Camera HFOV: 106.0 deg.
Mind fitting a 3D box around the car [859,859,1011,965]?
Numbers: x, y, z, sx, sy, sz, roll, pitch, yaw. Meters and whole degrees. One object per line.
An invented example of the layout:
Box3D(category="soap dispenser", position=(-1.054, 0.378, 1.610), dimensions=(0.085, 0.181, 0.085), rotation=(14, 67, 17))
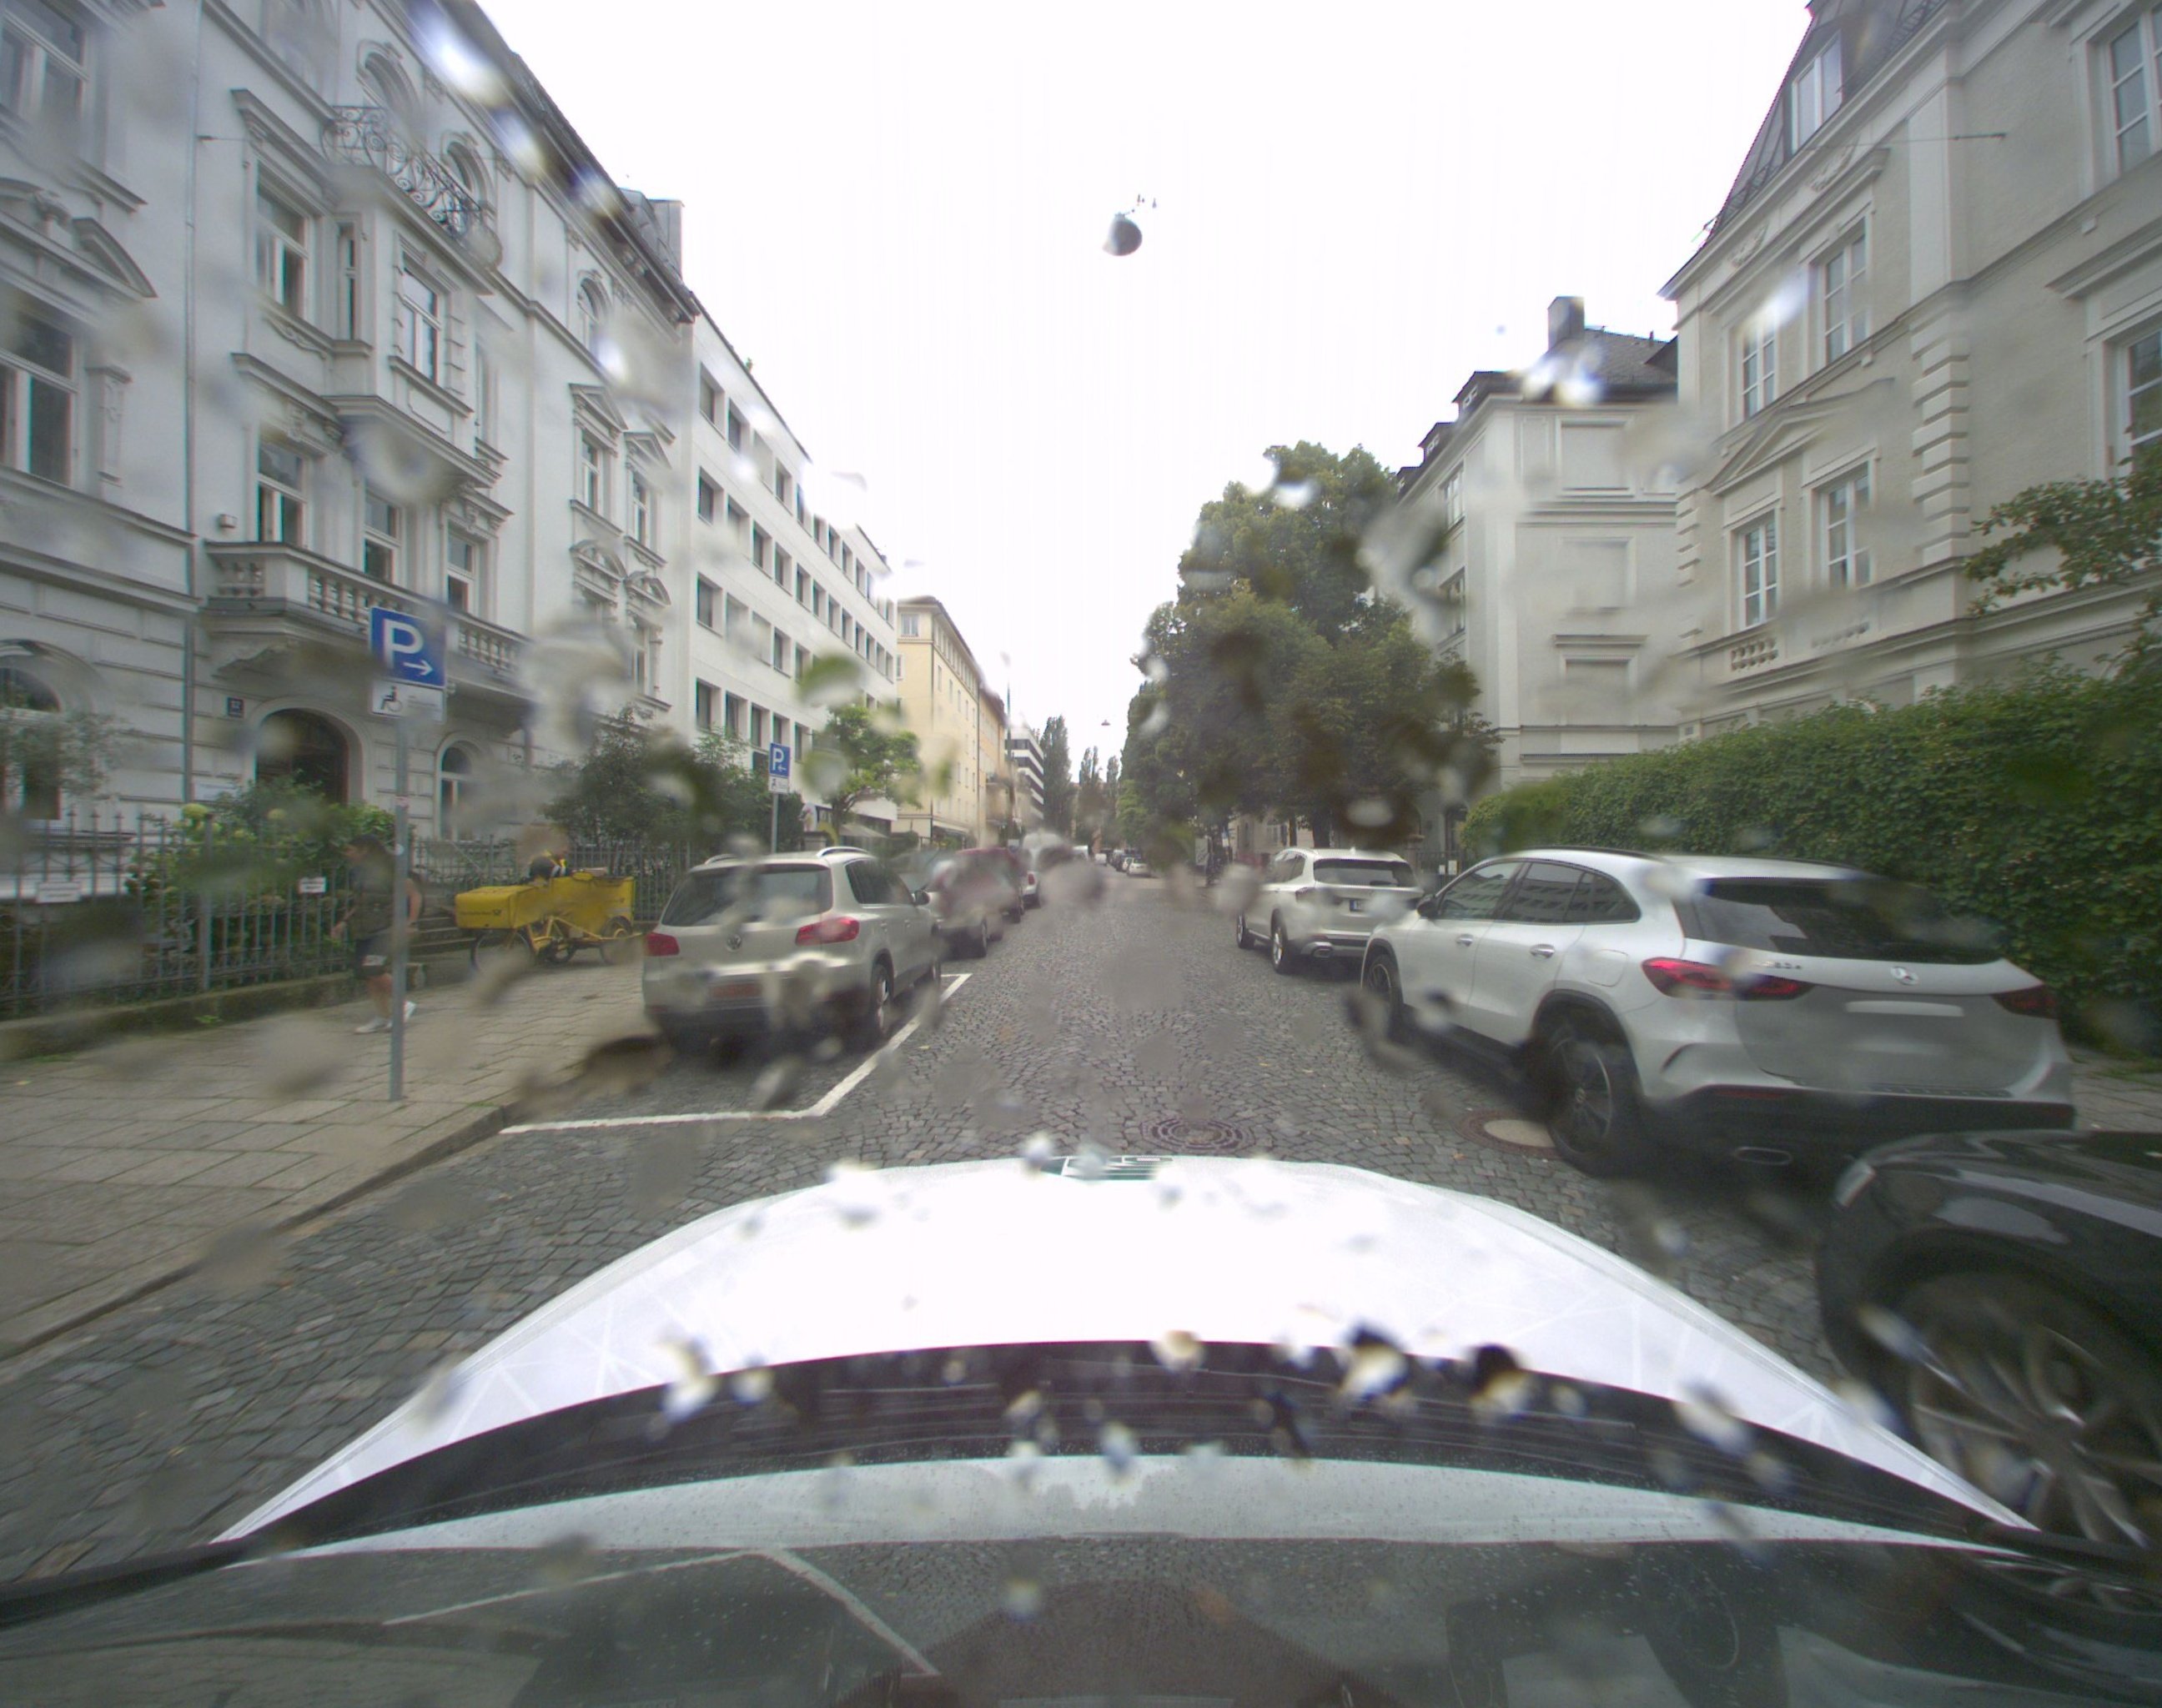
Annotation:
Box3D(category="car", position=(-2.321, 0.864, 14.034), dimensions=(1.868, 1.451, 4.206), rotation=(-2, 0, -1))

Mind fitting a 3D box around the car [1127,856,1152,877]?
Box3D(category="car", position=(4.396, 0.909, 61.646), dimensions=(1.783, 1.520, 4.002), rotation=(0, 0, 2))

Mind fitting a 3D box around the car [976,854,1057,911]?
Box3D(category="car", position=(-1.923, 0.833, 25.645), dimensions=(1.864, 1.580, 4.213), rotation=(2, 0, 4))

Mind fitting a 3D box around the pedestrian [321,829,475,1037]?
Box3D(category="pedestrian", position=(-5.805, 0.641, 6.965), dimensions=(0.691, 1.687, 0.720), rotation=(0, 0, 0))

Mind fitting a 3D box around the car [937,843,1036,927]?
Box3D(category="car", position=(-2.242, 0.713, 20.430), dimensions=(1.867, 1.776, 4.122), rotation=(-4, 0, 0))

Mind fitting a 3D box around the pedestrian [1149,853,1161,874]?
Box3D(category="pedestrian", position=(7.144, 0.937, 78.583), dimensions=(0.858, 2.014, 0.985), rotation=(0, 0, -16))

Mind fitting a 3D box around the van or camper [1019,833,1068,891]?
Box3D(category="van or camper", position=(-1.795, 0.395, 40.636), dimensions=(1.986, 2.652, 4.002), rotation=(-3, 0, 2))

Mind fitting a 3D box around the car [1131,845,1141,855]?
Box3D(category="car", position=(11.126, -0.775, 164.477), dimensions=(1.986, 2.014, 4.001), rotation=(0, -1, 2))

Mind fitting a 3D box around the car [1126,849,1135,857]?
Box3D(category="car", position=(11.437, -0.206, 188.997), dimensions=(1.986, 2.014, 4.001), rotation=(0, -1, 2))

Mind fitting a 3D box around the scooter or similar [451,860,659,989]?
Box3D(category="scooter or similar", position=(-6.672, 0.814, 10.592), dimensions=(0.938, 1.441, 2.657), rotation=(0, 0, 1))

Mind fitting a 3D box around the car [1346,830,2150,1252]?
Box3D(category="car", position=(3.332, 0.746, 5.328), dimensions=(1.811, 1.580, 4.208), rotation=(3, 0, 1))

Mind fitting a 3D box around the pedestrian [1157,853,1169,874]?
Box3D(category="pedestrian", position=(8.001, 0.941, 79.022), dimensions=(0.858, 2.014, 0.985), rotation=(0, 0, -16))

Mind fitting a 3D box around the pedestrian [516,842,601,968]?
Box3D(category="pedestrian", position=(-7.227, 0.682, 11.294), dimensions=(0.715, 1.687, 0.695), rotation=(0, 0, 0))

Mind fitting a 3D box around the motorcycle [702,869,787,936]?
Box3D(category="motorcycle", position=(-6.562, 0.914, 15.972), dimensions=(0.619, 1.196, 1.870), rotation=(0, 0, 10))

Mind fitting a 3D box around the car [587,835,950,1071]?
Box3D(category="car", position=(-2.579, 0.710, 7.963), dimensions=(1.868, 1.580, 4.253), rotation=(-3, 0, -1))

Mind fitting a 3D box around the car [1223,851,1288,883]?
Box3D(category="car", position=(11.148, 0.808, 52.369), dimensions=(3.964, 2.014, 2.005), rotation=(0, 0, 8))

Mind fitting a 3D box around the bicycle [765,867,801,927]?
Box3D(category="bicycle", position=(-6.611, 0.912, 18.137), dimensions=(0.657, 1.221, 2.077), rotation=(0, 0, -17))

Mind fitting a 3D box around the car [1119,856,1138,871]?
Box3D(category="car", position=(4.782, 0.951, 82.281), dimensions=(1.783, 1.520, 4.002), rotation=(0, 0, 2))

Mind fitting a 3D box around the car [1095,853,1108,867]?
Box3D(category="car", position=(3.003, 0.926, 118.749), dimensions=(1.986, 2.014, 4.002), rotation=(0, 0, 2))

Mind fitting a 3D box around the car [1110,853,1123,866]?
Box3D(category="car", position=(5.460, 0.845, 125.454), dimensions=(1.986, 2.014, 4.002), rotation=(0, 0, 2))

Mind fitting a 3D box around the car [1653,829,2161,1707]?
Box3D(category="car", position=(2.798, 0.744, 0.353), dimensions=(1.867, 1.503, 4.509), rotation=(2, 0, -1))

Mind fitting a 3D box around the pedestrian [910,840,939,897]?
Box3D(category="pedestrian", position=(-5.298, 0.488, 27.614), dimensions=(0.789, 1.917, 0.759), rotation=(1, 0, 1))

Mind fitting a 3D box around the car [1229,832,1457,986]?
Box3D(category="car", position=(3.486, 0.651, 11.836), dimensions=(1.866, 1.733, 4.594), rotation=(2, 0, 1))

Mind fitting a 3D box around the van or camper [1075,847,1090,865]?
Box3D(category="van or camper", position=(0.261, 0.260, 125.229), dimensions=(2.248, 2.742, 5.099), rotation=(0, 0, 1))
